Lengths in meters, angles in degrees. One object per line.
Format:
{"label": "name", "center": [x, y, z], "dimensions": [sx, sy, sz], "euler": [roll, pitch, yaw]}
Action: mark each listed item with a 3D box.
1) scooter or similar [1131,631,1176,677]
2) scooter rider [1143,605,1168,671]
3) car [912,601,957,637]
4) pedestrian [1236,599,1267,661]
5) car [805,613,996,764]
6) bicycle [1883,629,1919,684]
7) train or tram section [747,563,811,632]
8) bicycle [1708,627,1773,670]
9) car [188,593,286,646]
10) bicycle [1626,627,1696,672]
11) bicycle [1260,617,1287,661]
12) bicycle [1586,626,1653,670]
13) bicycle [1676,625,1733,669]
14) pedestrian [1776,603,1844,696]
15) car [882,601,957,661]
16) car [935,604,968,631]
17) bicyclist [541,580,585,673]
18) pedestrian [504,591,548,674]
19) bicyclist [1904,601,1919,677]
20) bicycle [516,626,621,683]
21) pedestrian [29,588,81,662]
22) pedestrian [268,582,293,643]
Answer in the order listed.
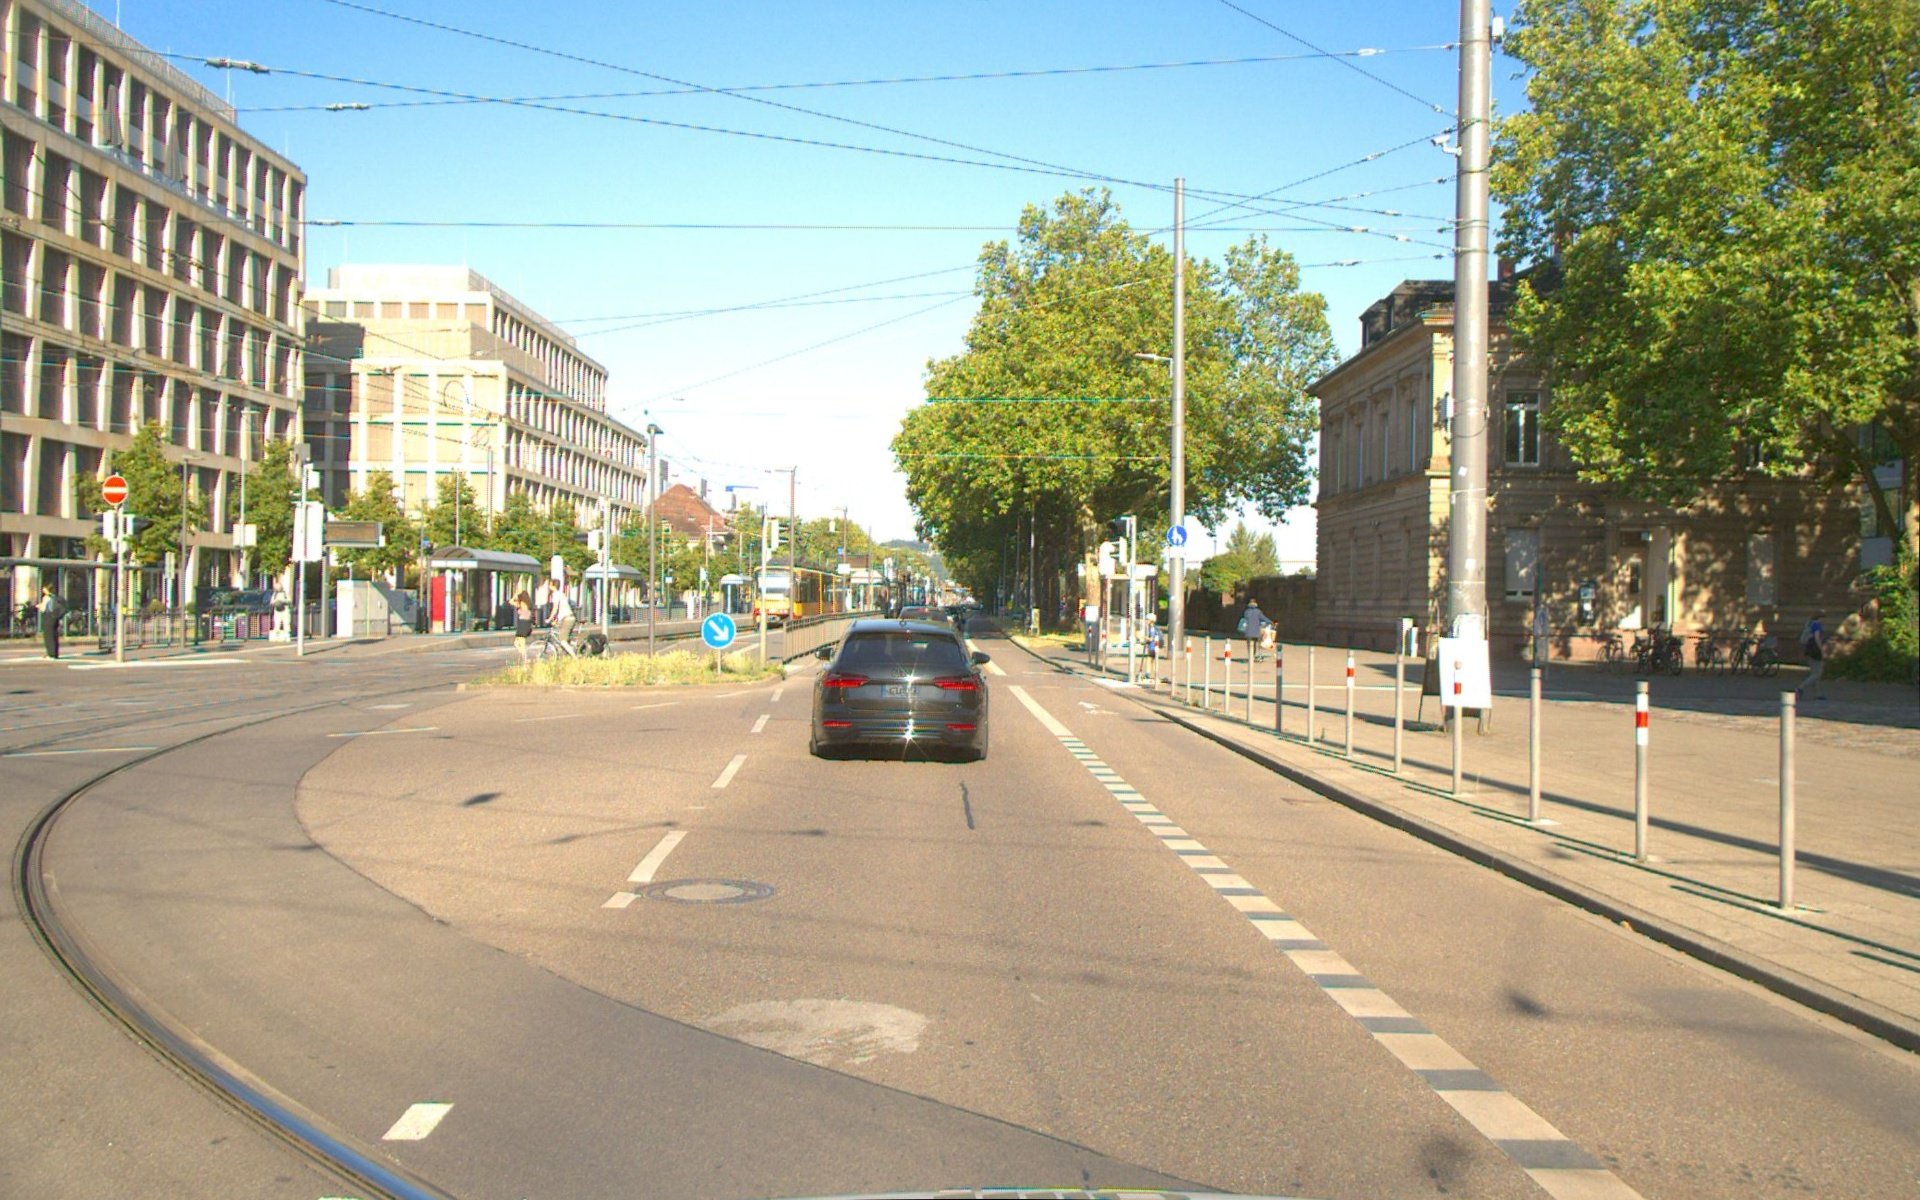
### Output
{"label": "scooter or similar", "center": [4.169, 1.163, 35.685], "dimensions": [0.919, 0.983, 0.361], "euler": [0, -1, -2]}
{"label": "scooter rider", "center": [4.225, 0.810, 35.690], "dimensions": [0.475, 1.410, 0.377], "euler": [0, -2, -2]}
{"label": "car", "center": [-1.106, 0.842, 73.063], "dimensions": [1.863, 1.512, 4.144], "euler": [1, -1, 1]}
{"label": "pedestrian", "center": [8.043, 0.817, 45.661], "dimensions": [0.668, 1.690, 0.758], "euler": [1, 0, -2]}
{"label": "car", "center": [-0.565, 0.904, 18.429], "dimensions": [1.863, 1.446, 4.144], "euler": [1, -1, 1]}
{"label": "bicycle", "center": [22.646, 1.305, 38.270], "dimensions": [2.311, 1.225, 0.824], "euler": [1, 0, -13]}
{"label": "train or tram section", "center": [-9.770, -0.126, 90.389], "dimensions": [2.556, 3.511, 11.128], "euler": [1, 0, -2]}
{"label": "bicycle", "center": [20.347, 1.255, 43.161], "dimensions": [0.515, 1.065, 2.229], "euler": [1, 0, -4]}
{"label": "car", "center": [-26.351, 0.707, 60.437], "dimensions": [1.804, 1.844, 4.112], "euler": [0, 0, -1]}
{"label": "bicycle", "center": [17.946, 1.251, 42.418], "dimensions": [0.516, 1.065, 2.355], "euler": [1, 0, -8]}
{"label": "bicycle", "center": [8.654, 1.073, 45.685], "dimensions": [0.426, 1.165, 1.340], "euler": [1, 0, -2]}
{"label": "bicycle", "center": [16.903, 1.210, 42.438], "dimensions": [0.516, 1.065, 2.355], "euler": [1, 0, -8]}
{"label": "bicycle", "center": [19.308, 1.209, 42.951], "dimensions": [0.515, 1.065, 2.231], "euler": [1, 0, 1]}
{"label": "pedestrian", "center": [17.690, 1.015, 34.424], "dimensions": [0.962, 1.898, 0.824], "euler": [1, 0, -13]}
{"label": "car", "center": [-1.046, 0.830, 44.940], "dimensions": [1.863, 1.512, 4.144], "euler": [1, -1, 1]}
{"label": "car", "center": [-0.475, 1.052, 98.313], "dimensions": [1.863, 1.512, 4.144], "euler": [1, -1, 1]}
{"label": "bicyclist", "center": [-8.083, 0.534, 33.695], "dimensions": [0.742, 1.850, 0.763], "euler": [1, 0, -6]}
{"label": "pedestrian", "center": [-9.402, 0.694, 35.826], "dimensions": [0.724, 1.772, 0.664], "euler": [1, 0, 4]}
{"label": "bicyclist", "center": [22.570, 0.902, 38.250], "dimensions": [0.962, 1.742, 0.824], "euler": [1, 0, -13]}
{"label": "bicycle", "center": [-7.967, 1.101, 33.717], "dimensions": [1.967, 1.128, 0.763], "euler": [1, 0, -6]}
{"label": "pedestrian", "center": [-19.435, 0.534, 35.533], "dimensions": [0.741, 1.559, 0.625], "euler": [1, 0, 4]}
{"label": "pedestrian", "center": [-19.045, 0.350, 46.350], "dimensions": [0.609, 1.693, 0.510], "euler": [1, 0, -25]}
